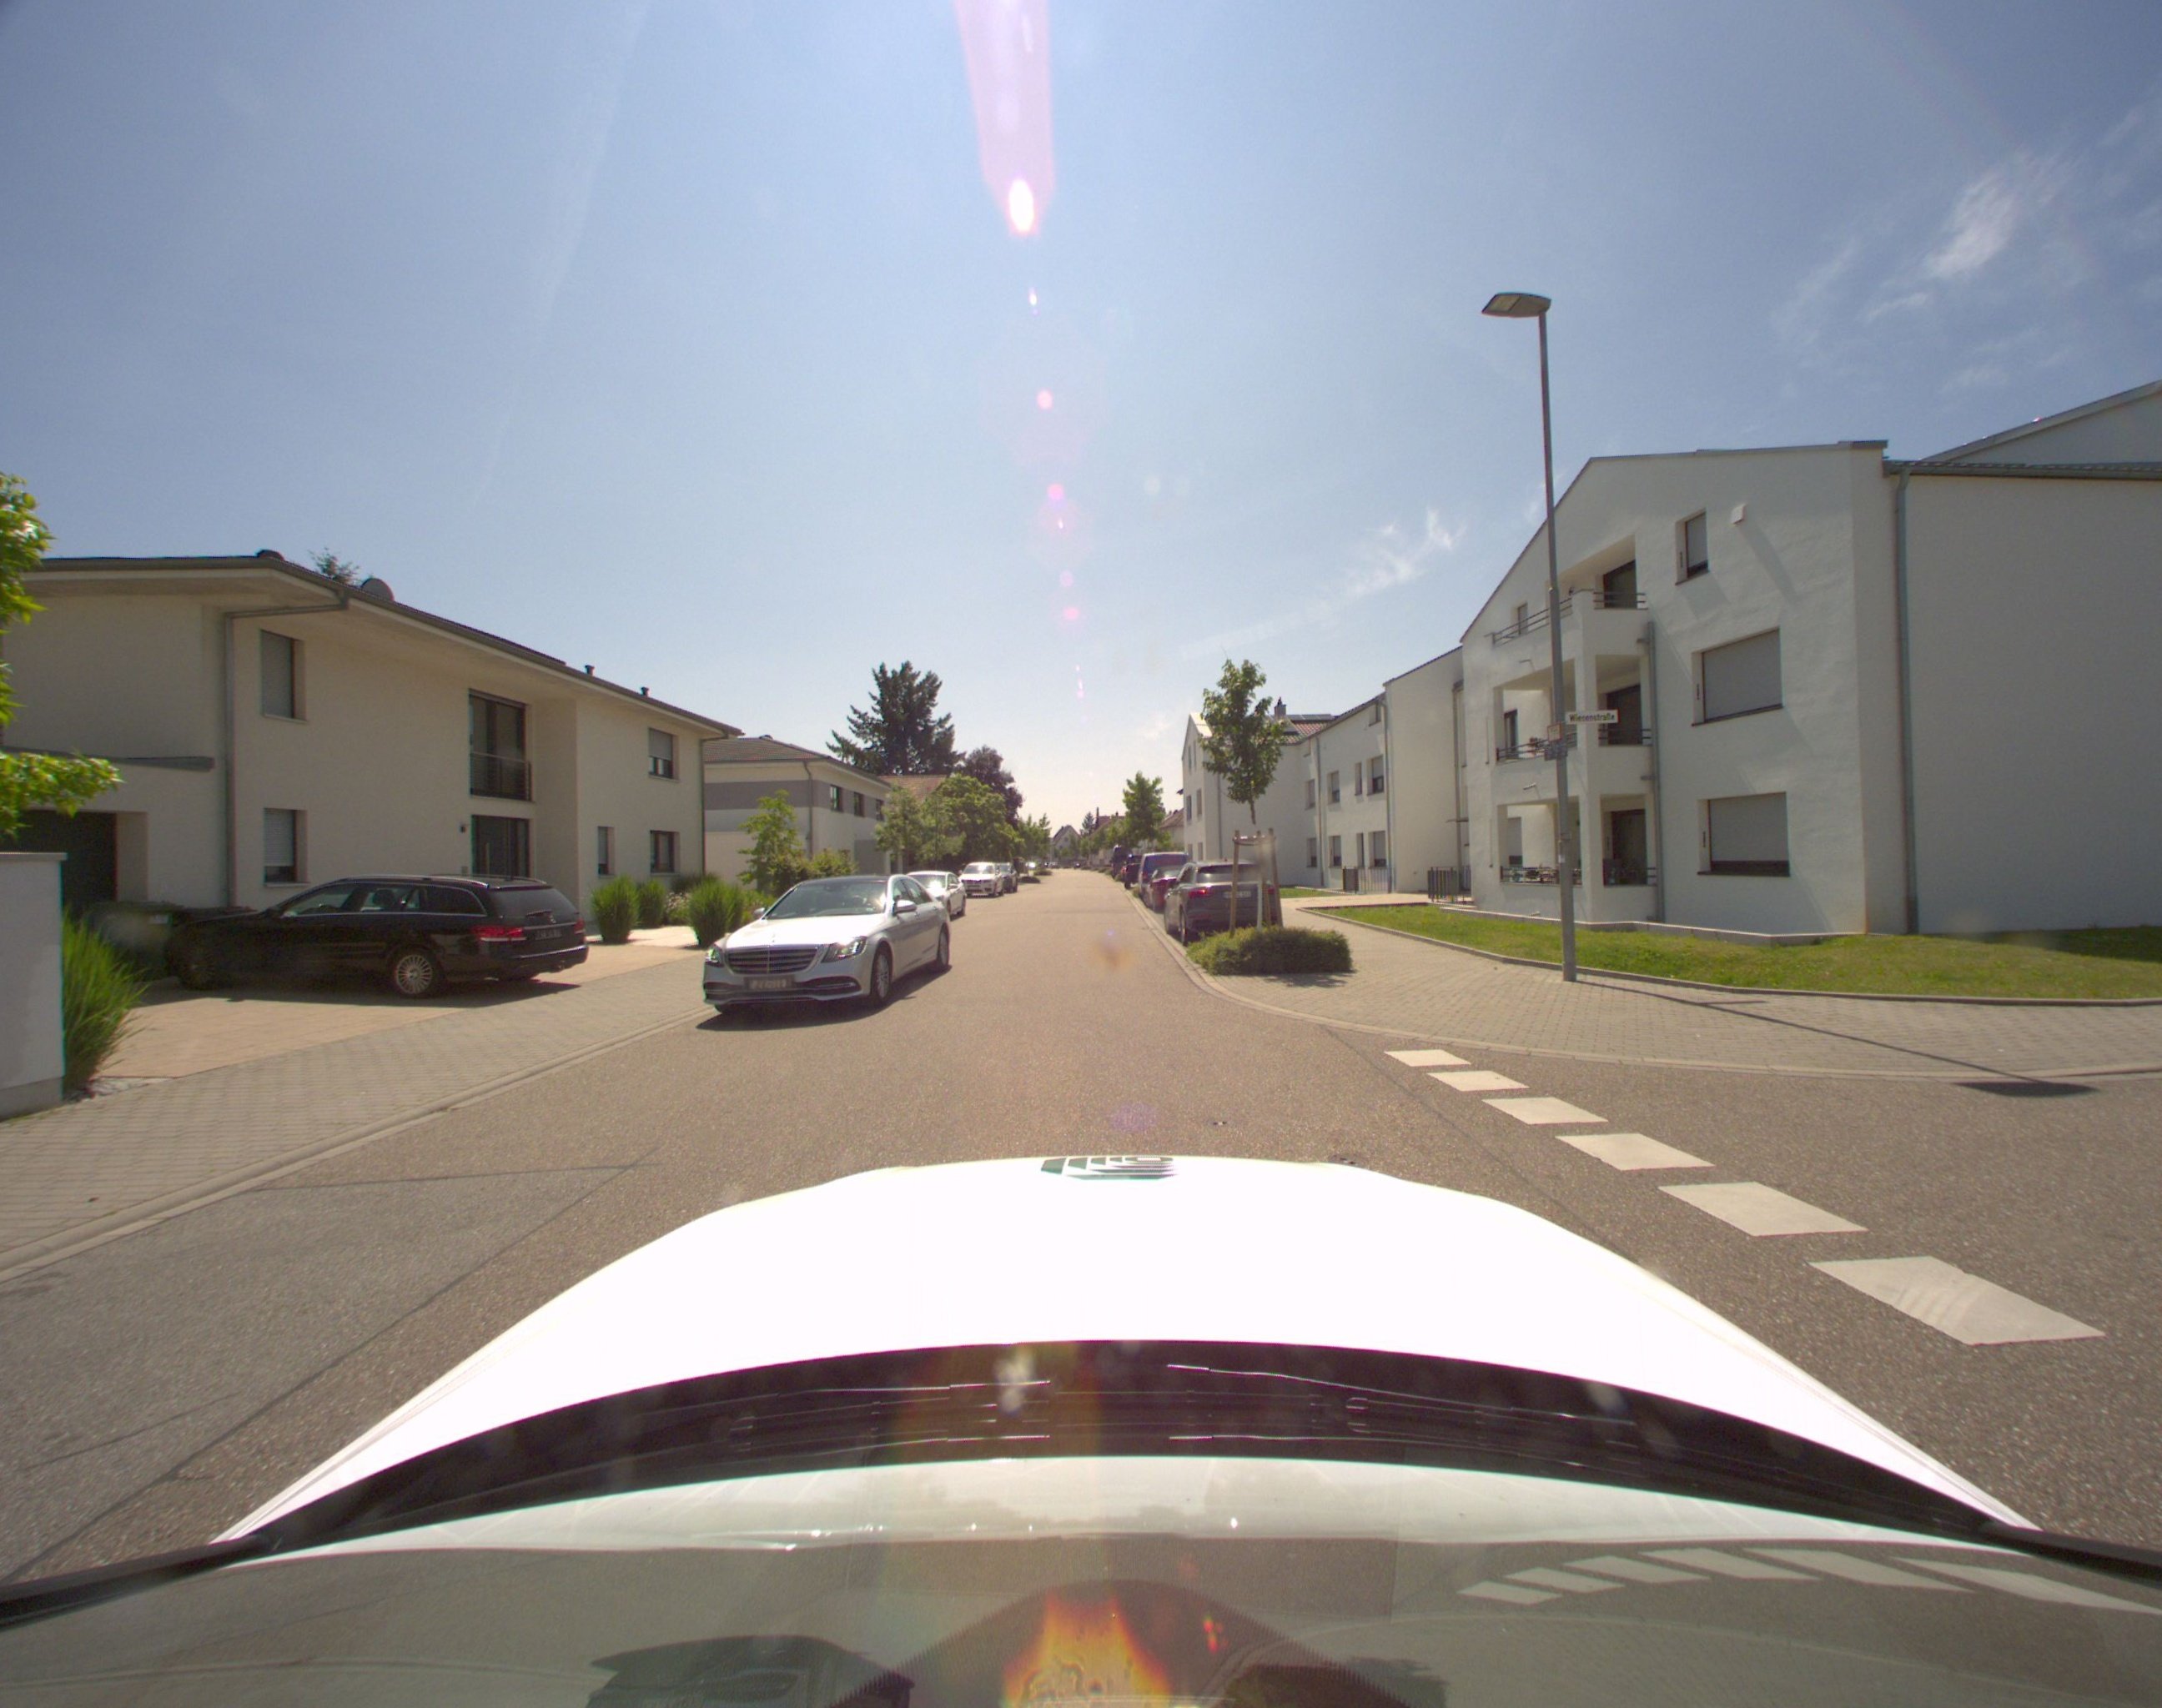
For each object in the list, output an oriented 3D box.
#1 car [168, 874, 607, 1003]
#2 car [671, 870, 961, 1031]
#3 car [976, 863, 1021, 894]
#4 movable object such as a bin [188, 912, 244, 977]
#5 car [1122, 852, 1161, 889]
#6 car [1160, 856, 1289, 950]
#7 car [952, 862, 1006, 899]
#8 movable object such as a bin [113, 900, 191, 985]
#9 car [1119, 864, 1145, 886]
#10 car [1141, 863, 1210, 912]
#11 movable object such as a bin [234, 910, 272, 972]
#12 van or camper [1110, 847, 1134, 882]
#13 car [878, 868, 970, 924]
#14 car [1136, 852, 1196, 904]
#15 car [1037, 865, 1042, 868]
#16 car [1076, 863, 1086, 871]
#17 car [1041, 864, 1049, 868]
[{"bbox_3d":[-9.141,1.051,10.983,4.408,1.473,1.853,1,-1,4],"label":"car"},{"bbox_3d":[-3.020,1.022,10.521,1.845,1.478,4.705,-3,-1,4],"label":"car"},{"bbox_3d":[-4.641,1.362,46.470,1.986,1.680,4.215,-1,-1,1],"label":"car"},{"bbox_3d":[-12.453,1.294,11.734,0.310,0.883,0.475,-1,-1,-5],"label":"movable object such as a bin"},{"bbox_3d":[3.456,0.940,47.378,1.986,1.947,5.216,-3,-1,1],"label":"car"},{"bbox_3d":[2.734,0.888,16.514,1.768,1.595,4.277,-2,-1,-1],"label":"car"},{"bbox_3d":[-4.919,1.249,39.853,1.920,1.687,4.499,-1,-1,1],"label":"car"},{"bbox_3d":[-12.509,1.181,10.980,0.383,1.073,0.589,-1,-1,-5],"label":"movable object such as a bin"},{"bbox_3d":[3.806,1.560,61.343,1.665,1.595,3.554,-2,-1,-1],"label":"car"},{"bbox_3d":[3.002,1.032,26.602,1.675,1.442,4.025,-2,-1,-1],"label":"car"},{"bbox_3d":[-12.452,1.296,12.253,0.184,0.883,0.394,-1,-1,-5],"label":"movable object such as a bin"},{"bbox_3d":[3.602,0.937,72.245,1.986,2.941,4.000,-2,-1,1],"label":"van or camper"},{"bbox_3d":[-4.735,1.227,25.151,1.845,1.488,4.386,-1,-1,1],"label":"car"},{"bbox_3d":[3.350,0.926,33.008,2.091,1.882,4.845,-2,-1,2],"label":"car"},{"bbox_3d":[-11.916,3.639,236.144,1.188,1.070,3.044,-2,-1,-8],"label":"car"},{"bbox_3d":[0.054,2.662,166.628,1.986,1.574,4.001,-2,-1,1],"label":"car"},{"bbox_3d":[-10.079,3.362,227.145,1.663,1.251,3.918,-2,-1,-10],"label":"car"}]
